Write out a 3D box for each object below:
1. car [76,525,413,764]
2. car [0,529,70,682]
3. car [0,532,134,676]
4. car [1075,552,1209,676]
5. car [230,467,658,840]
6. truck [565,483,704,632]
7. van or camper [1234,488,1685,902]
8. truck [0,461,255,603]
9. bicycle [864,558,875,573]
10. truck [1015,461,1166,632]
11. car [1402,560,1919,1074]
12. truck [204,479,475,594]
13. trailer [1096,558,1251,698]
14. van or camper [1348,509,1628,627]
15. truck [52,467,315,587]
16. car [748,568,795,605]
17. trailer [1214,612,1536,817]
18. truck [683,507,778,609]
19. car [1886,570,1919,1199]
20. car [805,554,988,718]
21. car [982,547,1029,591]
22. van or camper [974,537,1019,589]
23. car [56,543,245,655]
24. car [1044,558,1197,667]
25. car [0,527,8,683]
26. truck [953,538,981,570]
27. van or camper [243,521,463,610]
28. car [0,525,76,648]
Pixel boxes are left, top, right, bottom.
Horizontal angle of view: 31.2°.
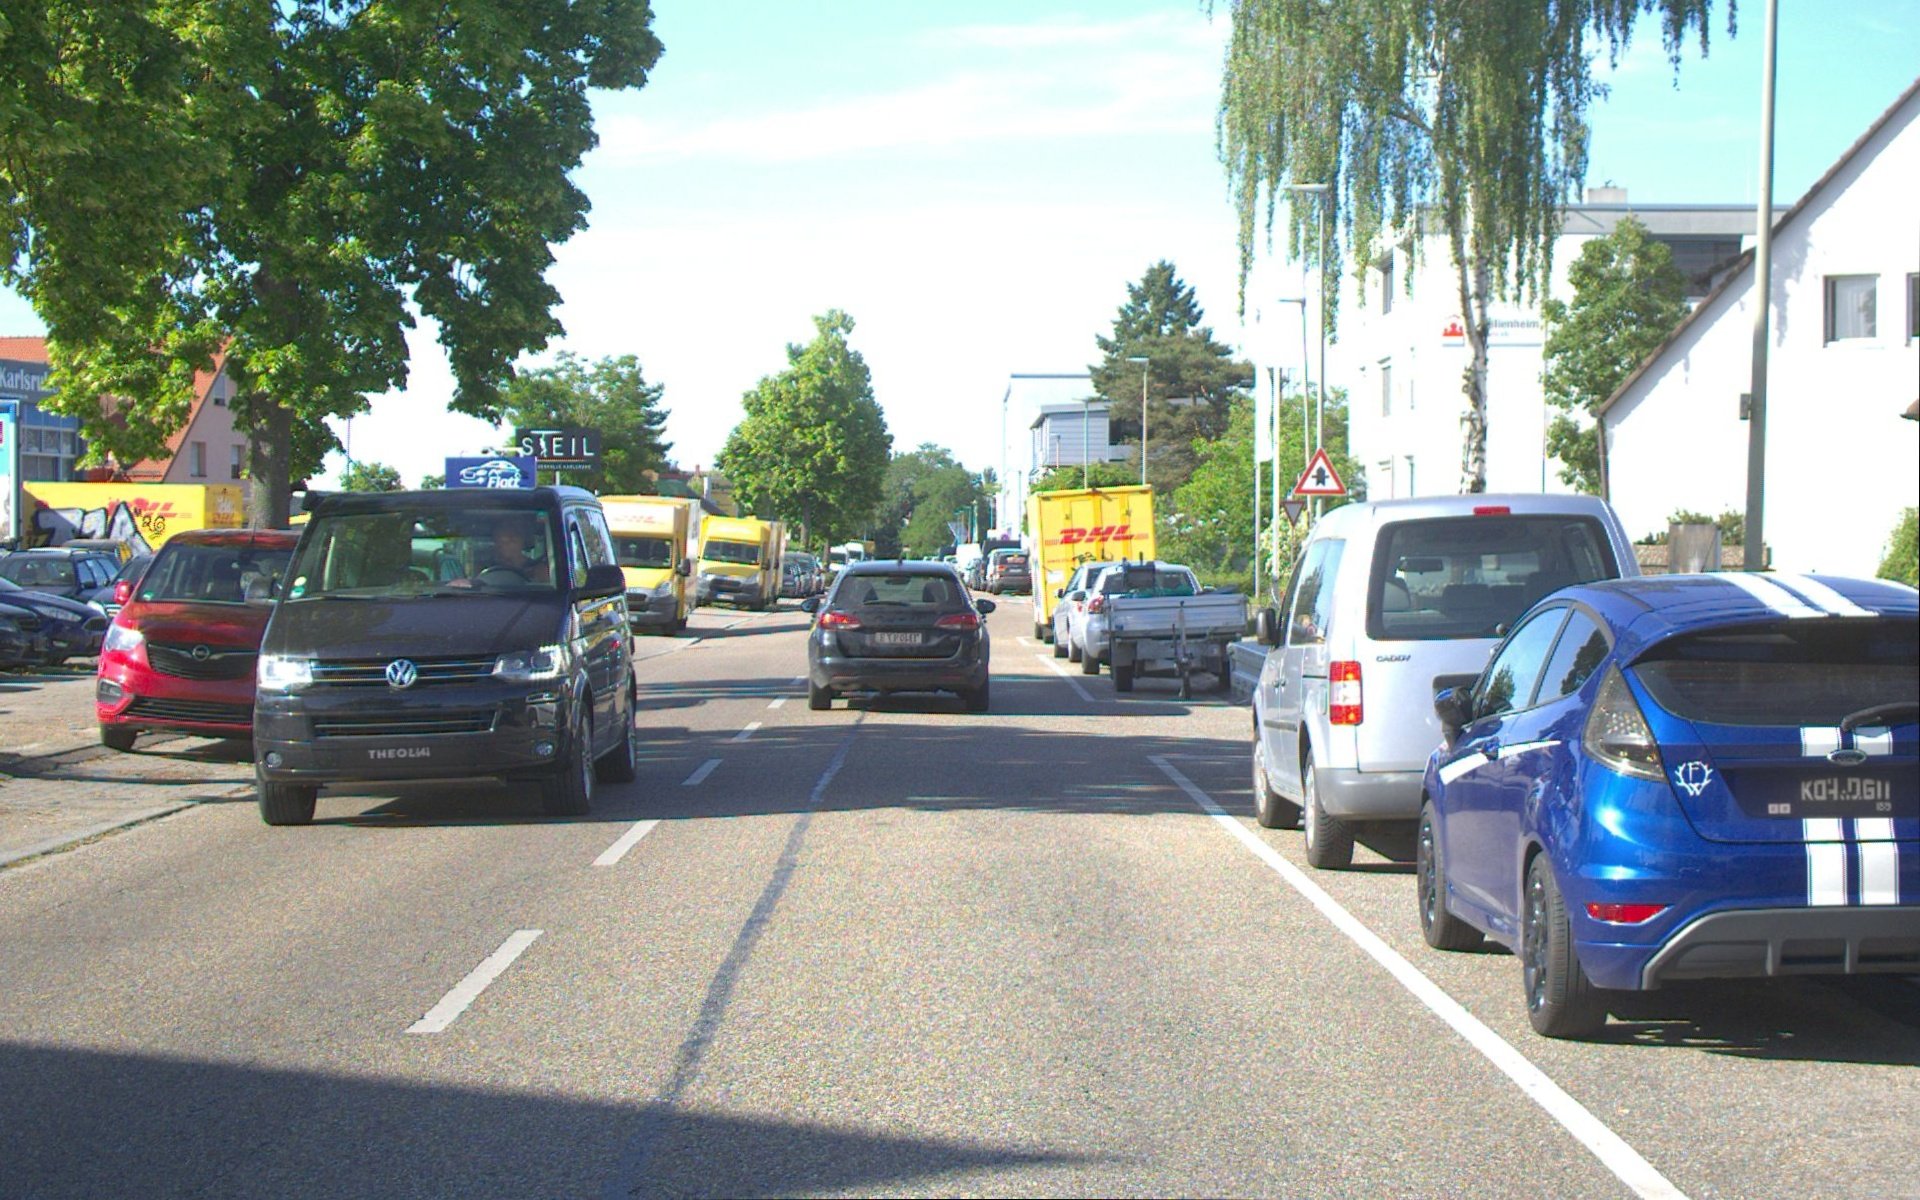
[{"bbox_3d":[-5.760,0.302,28.175,1.803,1.746,4.342,2,1,0],"label":"car"},{"bbox_3d":[-12.693,0.052,39.851,4.250,1.723,1.765,0,1,6],"label":"car"},{"bbox_3d":[-12.552,0.037,42.389,4.250,1.723,1.765,0,1,6],"label":"car"},{"bbox_3d":[2.428,0.156,45.766,1.674,1.537,4.043,1,1,3],"label":"car"},{"bbox_3d":[-3.071,0.259,21.466,1.894,2.024,4.818,-1,1,0],"label":"car"},{"bbox_3d":[-6.921,-0.917,73.863,2.402,2.973,7.246,2,1,-1],"label":"truck"},{"bbox_3d":[2.465,0.406,17.919,1.719,1.884,4.180,1,1,0],"label":"van or camper"},{"bbox_3d":[-19.670,-1.594,80.308,5.671,3.109,2.522,2,1,11],"label":"truck"},{"bbox_3d":[-6.687,-2.553,254.777,0.829,1.149,2.941,0,1,-2],"label":"bicycle"},{"bbox_3d":[2.353,-0.975,63.965,2.402,2.926,7.016,-2,1,0],"label":"truck"},{"bbox_3d":[2.637,0.626,11.972,1.719,1.499,3.563,1,1,0],"label":"car"},{"bbox_3d":[-14.813,-1.516,82.199,5.924,2.559,2.223,2,1,11],"label":"truck"},{"bbox_3d":[2.440,0.296,39.901,1.627,1.533,3.198,0,1,1],"label":"trailer"},{"bbox_3d":[11.679,-0.720,75.949,5.812,2.532,2.290,0,1,-25],"label":"van or camper"},{"bbox_3d":[-19.485,-1.829,86.342,6.095,2.962,2.172,0,1,13],"label":"truck"},{"bbox_3d":[-7.380,-0.546,134.678,1.756,1.398,4.558,0,1,-2],"label":"car"},{"bbox_3d":[2.727,0.727,23.169,1.627,1.213,3.145,0,1,-3],"label":"trailer"},{"bbox_3d":[-6.995,-1.299,105.515,2.402,2.973,6.374,2,1,0],"label":"truck"},{"bbox_3d":[2.885,0.728,5.385,1.718,1.499,3.907,1,1,-1],"label":"car"},{"bbox_3d":[-0.587,0.316,34.505,1.712,1.527,3.687,0,1,1],"label":"car"},{"bbox_3d":[1.888,-1.320,144.169,1.919,1.819,4.080,0,1,0],"label":"car"},{"bbox_3d":[1.629,-1.681,154.676,1.993,2.302,4.000,0,1,0],"label":"van or camper"},{"bbox_3d":[-11.985,0.024,51.128,1.861,1.584,4.276,0,-1,-1],"label":"car"},{"bbox_3d":[2.353,0.154,51.514,1.783,1.537,4.538,0,1,-4],"label":"car"},{"bbox_3d":[-12.804,0.064,37.599,4.250,1.723,1.765,0,1,6],"label":"car"},{"bbox_3d":[0.461,-3.321,248.946,1.993,2.280,6.956,0,1,0],"label":"truck"},{"bbox_3d":[-13.981,-0.802,79.344,4.544,2.007,2.250,0,1,6],"label":"van or camper"},{"bbox_3d":[-14.783,-0.195,50.660,1.777,1.742,4.162,0,2,11],"label":"car"}]
